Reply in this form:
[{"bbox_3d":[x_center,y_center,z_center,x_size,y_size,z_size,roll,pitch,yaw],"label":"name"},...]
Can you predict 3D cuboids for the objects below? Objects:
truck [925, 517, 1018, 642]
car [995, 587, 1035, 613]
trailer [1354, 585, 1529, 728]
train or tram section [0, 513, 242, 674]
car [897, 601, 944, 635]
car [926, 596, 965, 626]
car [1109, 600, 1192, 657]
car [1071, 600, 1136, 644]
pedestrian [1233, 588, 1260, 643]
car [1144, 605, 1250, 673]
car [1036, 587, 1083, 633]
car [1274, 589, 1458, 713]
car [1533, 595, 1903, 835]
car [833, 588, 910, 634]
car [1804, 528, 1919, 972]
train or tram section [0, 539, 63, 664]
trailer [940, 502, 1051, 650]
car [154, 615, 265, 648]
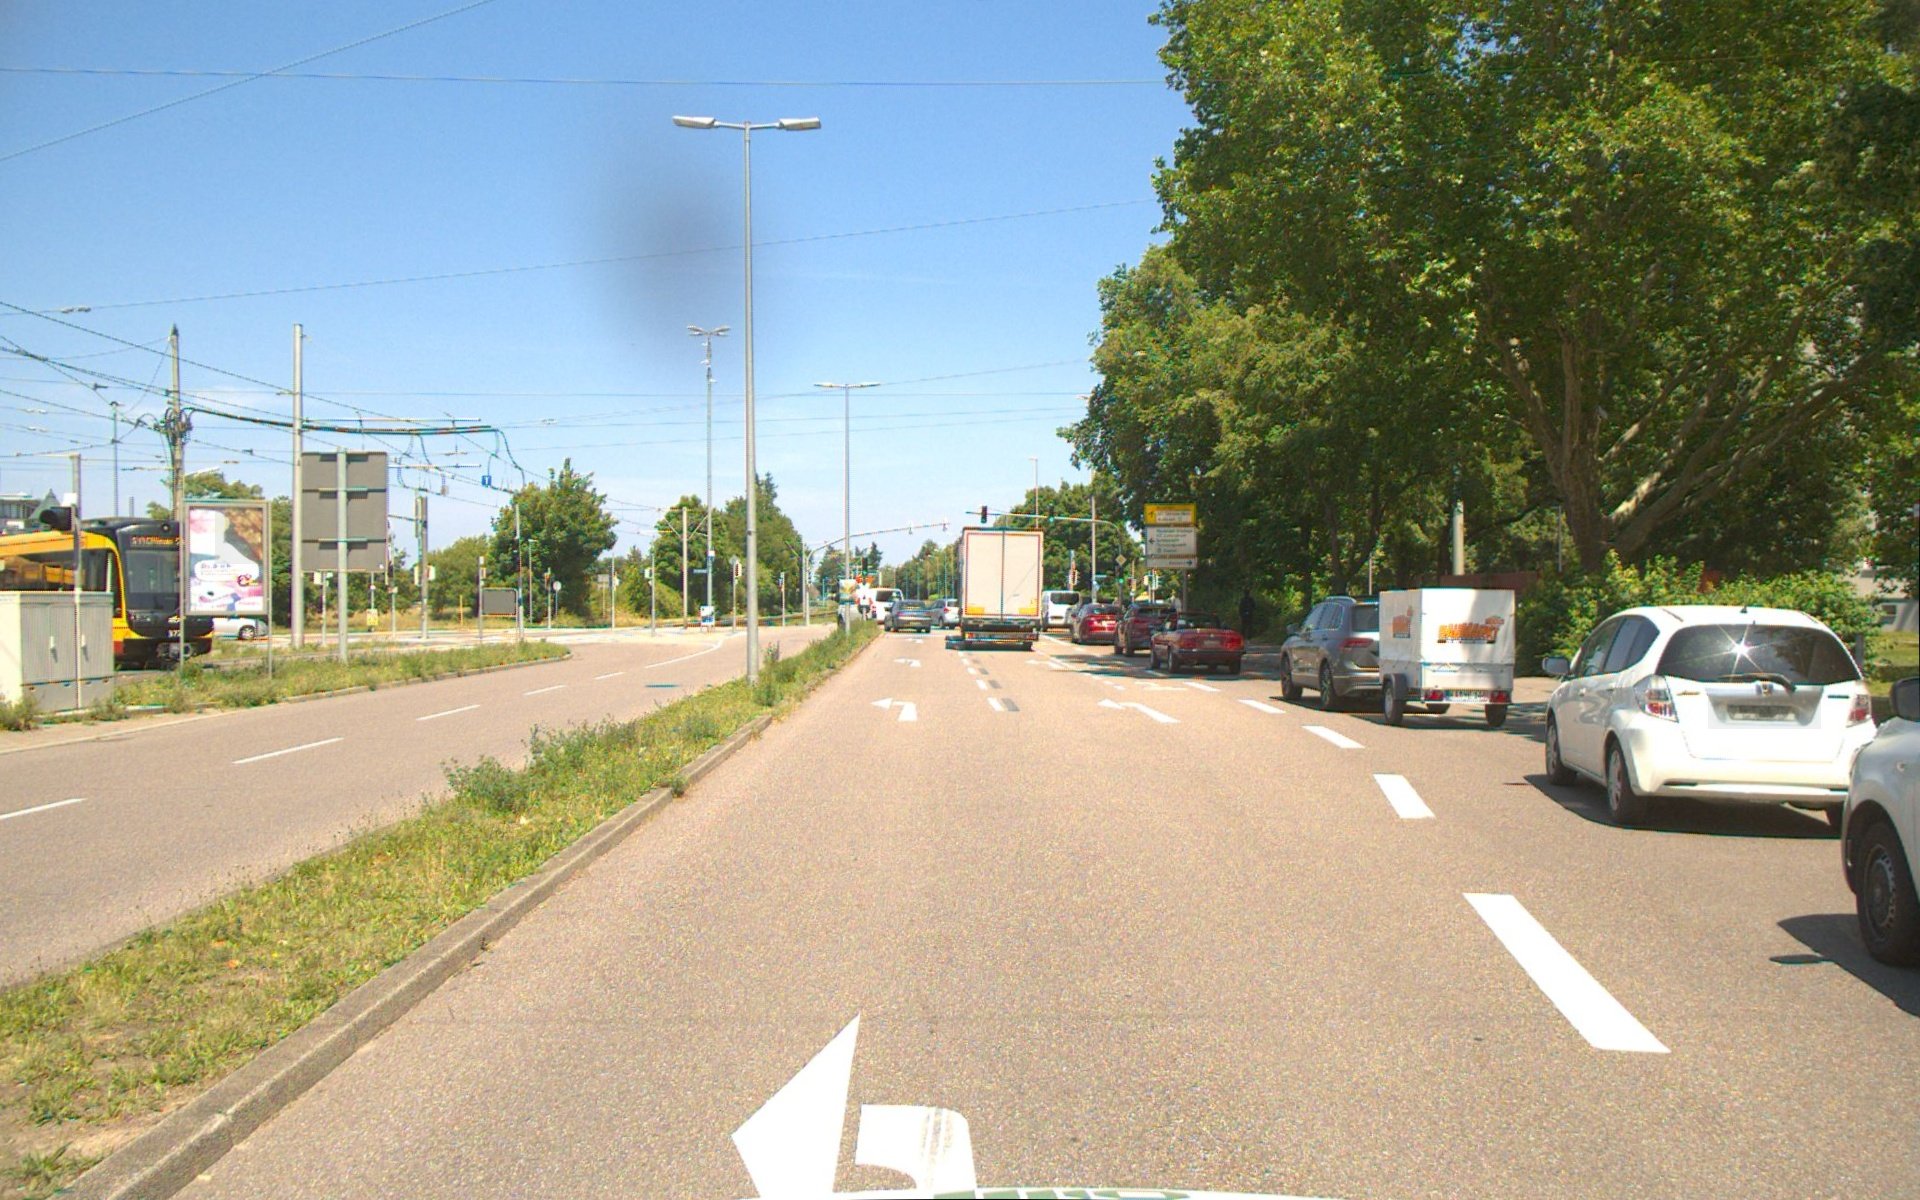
[{"bbox_3d":[0.327,-0.805,63.738,2.772,4.420,8.277,2,1,-5],"label":"truck"},{"bbox_3d":[3.194,-0.004,96.122,1.954,1.462,4.248,0,1,-3],"label":"car"},{"bbox_3d":[6.138,0.671,21.328,1.438,1.698,2.856,1,0,1],"label":"trailer"},{"bbox_3d":[-22.102,-0.222,42.357,3.019,3.526,13.094,1,0,-41],"label":"train or tram section"},{"bbox_3d":[-1.751,0.836,73.961,1.853,1.396,4.430,2,-1,1],"label":"car"},{"bbox_3d":[-0.699,0.545,83.904,1.853,1.395,4.431,0,1,1],"label":"car"},{"bbox_3d":[5.622,0.817,49.218,1.821,1.576,3.885,1,0,-3],"label":"car"},{"bbox_3d":[5.250,0.789,61.212,1.953,1.529,4.502,0,1,-1],"label":"car"},{"bbox_3d":[9.826,0.517,56.671,0.738,1.847,0.693,-1,0,-3],"label":"pedestrian"},{"bbox_3d":[5.368,0.850,37.865,1.621,1.421,4.265,1,0,-3],"label":"car"},{"bbox_3d":[4.843,0.485,80.733,1.853,2.158,3.885,1,0,-3],"label":"car"},{"bbox_3d":[6.005,0.698,24.963,1.665,1.683,4.398,1,0,0],"label":"car"},{"bbox_3d":[5.589,0.740,12.694,1.684,1.514,3.881,1,0,11],"label":"car"},{"bbox_3d":[-4.360,0.495,81.158,1.972,2.148,4.702,0,1,-29],"label":"car"},{"bbox_3d":[4.541,0.614,5.579,1.673,1.778,4.431,1,0,8],"label":"car"},{"bbox_3d":[-31.707,-0.047,49.100,9.979,3.526,3.047,1,0,20],"label":"train or tram section"},{"bbox_3d":[1.030,-0.767,55.236,2.772,4.499,8.741,1,0,-5],"label":"trailer"},{"bbox_3d":[-33.138,1.353,73.072,4.229,1.316,1.977,0,1,-34],"label":"car"}]
